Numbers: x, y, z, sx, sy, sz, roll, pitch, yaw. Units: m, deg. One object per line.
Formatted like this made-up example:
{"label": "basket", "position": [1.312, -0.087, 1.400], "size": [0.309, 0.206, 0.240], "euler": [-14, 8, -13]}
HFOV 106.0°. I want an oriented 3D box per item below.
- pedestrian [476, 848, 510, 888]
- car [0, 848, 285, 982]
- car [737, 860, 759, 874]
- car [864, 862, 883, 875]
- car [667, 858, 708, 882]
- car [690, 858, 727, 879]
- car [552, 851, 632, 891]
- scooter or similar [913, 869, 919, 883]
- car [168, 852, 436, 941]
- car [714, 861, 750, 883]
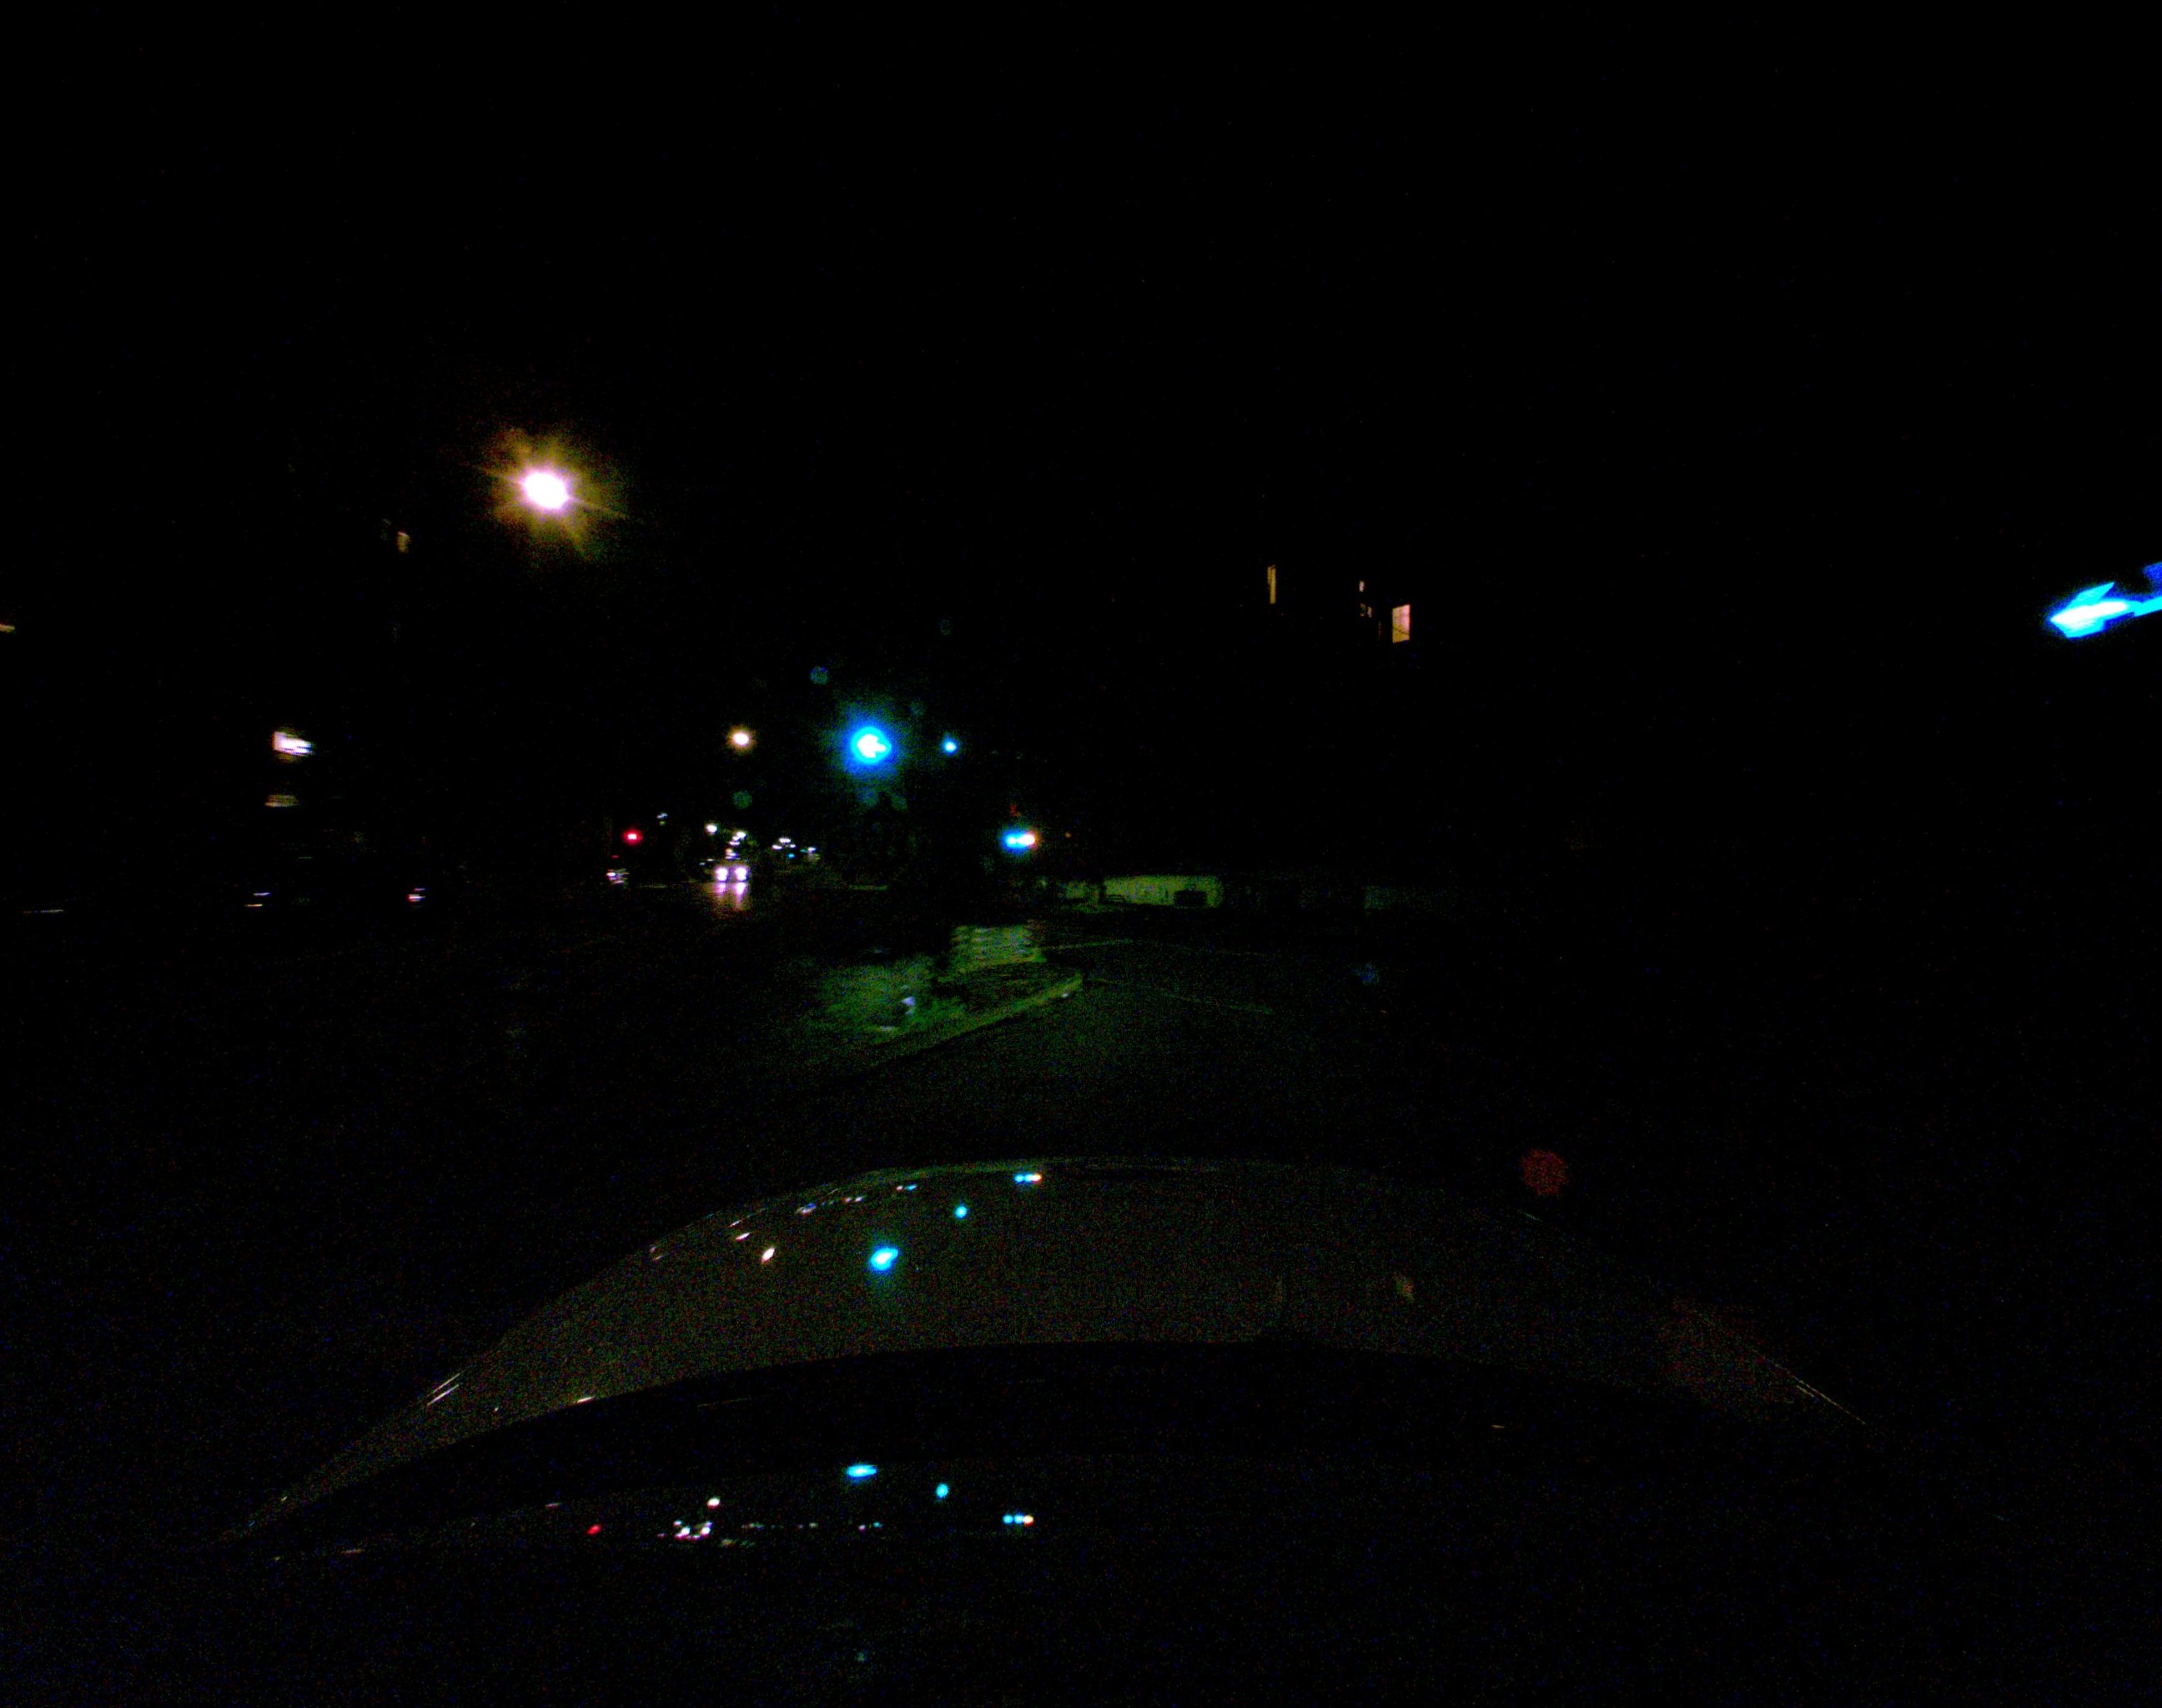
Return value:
{"label": "pedestrian", "position": [-25.984, 0.615, 35.993], "size": [0.708, 1.690, 1.122], "euler": [1, -1, -6]}
{"label": "car", "position": [-13.467, 0.693, 11.030], "size": [1.865, 1.479, 4.448], "euler": [2, -1, -16]}
{"label": "car", "position": [-36.626, 1.410, 89.649], "size": [1.789, 1.416, 4.101], "euler": [3, -1, -18]}
{"label": "car", "position": [-26.008, 1.806, 102.028], "size": [1.739, 1.460, 4.695], "euler": [2, -1, -20]}
{"label": "car", "position": [-27.004, 1.061, 55.983], "size": [1.593, 1.491, 3.684], "euler": [4, -2, -12]}
{"label": "car", "position": [-29.239, 1.110, 64.079], "size": [1.787, 1.491, 4.308], "euler": [4, -2, -14]}
{"label": "car", "position": [-21.485, 0.755, 35.948], "size": [1.889, 1.596, 4.003], "euler": [3, -2, -15]}
{"label": "scooter or similar", "position": [-13.549, 1.774, 66.920], "size": [0.421, 1.130, 1.489], "euler": [1, -1, -8]}
{"label": "car", "position": [-14.857, 0.762, 15.944], "size": [1.864, 1.434, 4.418], "euler": [3, -2, -16]}
{"label": "car", "position": [-24.104, 1.217, 56.363], "size": [1.719, 1.429, 3.978], "euler": [0, 0, -16]}
